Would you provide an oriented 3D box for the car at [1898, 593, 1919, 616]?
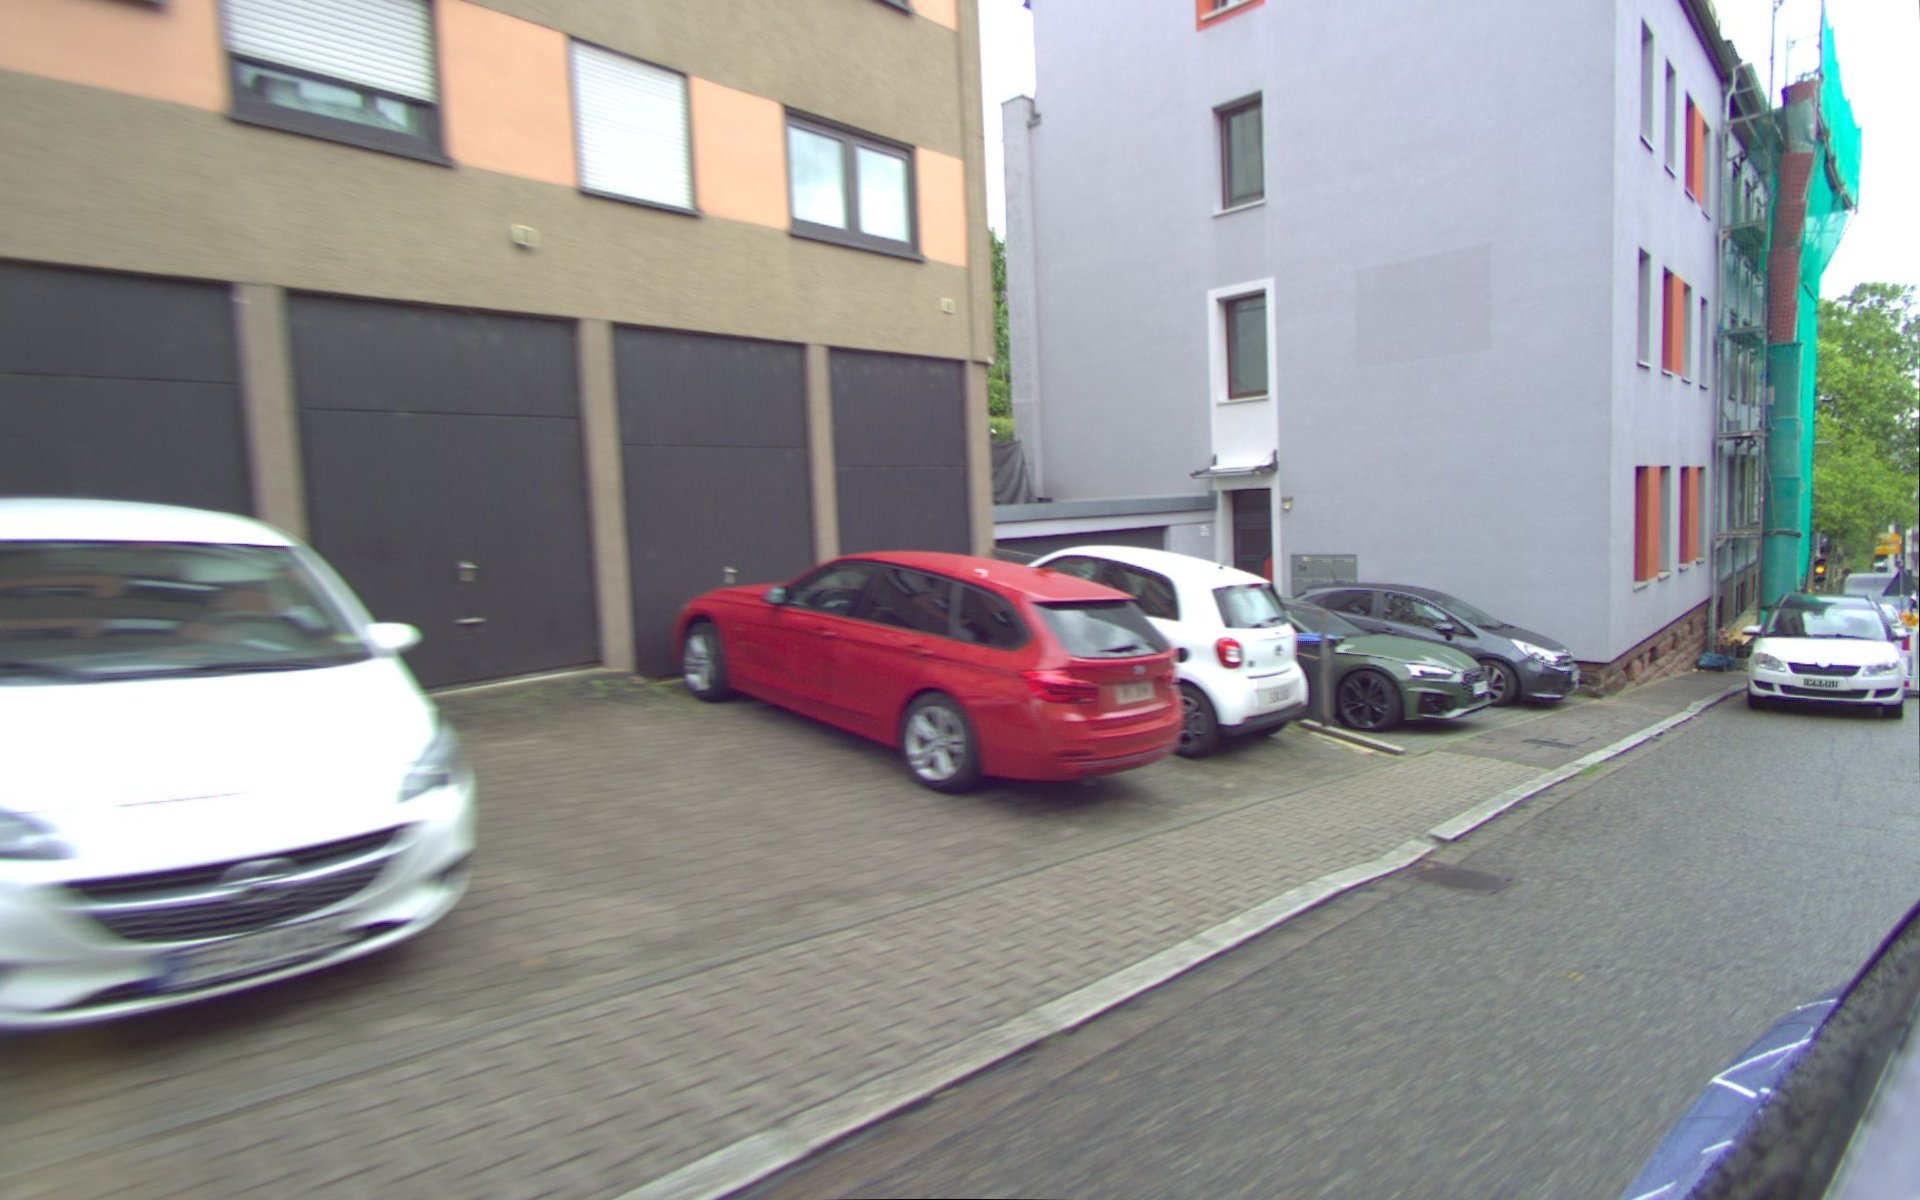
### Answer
[{"bbox_3d":[66.310,0.330,70.210,1.631,1.549,3.942,1,0,40],"label":"car"}]

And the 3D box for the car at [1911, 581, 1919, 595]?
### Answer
[{"bbox_3d":[114.216,-1.414,120.079,1.630,1.549,3.944,1,0,39],"label":"car"}]

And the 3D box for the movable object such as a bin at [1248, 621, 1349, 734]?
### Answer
[{"bbox_3d":[3.424,0.754,10.239,0.722,1.033,0.760,1,2,43],"label":"movable object such as a bin"}]

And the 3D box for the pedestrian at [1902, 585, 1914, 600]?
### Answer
[{"bbox_3d":[99.749,-0.808,106.507,0.868,1.561,1.071,0,-1,41],"label":"pedestrian"}]

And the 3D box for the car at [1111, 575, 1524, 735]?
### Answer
[{"bbox_3d":[4.135,0.511,12.157,4.268,1.484,1.864,3,2,43],"label":"car"}]

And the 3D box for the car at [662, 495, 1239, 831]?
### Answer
[{"bbox_3d":[-0.326,0.221,7.904,4.348,1.547,1.847,12,8,43],"label":"car"}]

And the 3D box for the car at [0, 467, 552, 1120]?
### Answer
[{"bbox_3d":[-3.538,0.324,4.315,3.962,1.547,1.668,10,6,41],"label":"car"}]

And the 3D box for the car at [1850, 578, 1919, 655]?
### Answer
[{"bbox_3d":[33.378,0.508,36.267,1.994,2.443,5.746,1,2,44],"label":"car"}]

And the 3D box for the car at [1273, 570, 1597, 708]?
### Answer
[{"bbox_3d":[6.625,0.447,14.349,3.803,1.569,1.634,4,2,43],"label":"car"}]

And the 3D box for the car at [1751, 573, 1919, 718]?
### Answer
[{"bbox_3d":[12.534,0.575,14.464,1.639,1.785,3.938,0,-1,43],"label":"car"}]

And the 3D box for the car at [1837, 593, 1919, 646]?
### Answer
[{"bbox_3d":[29.202,0.564,32.037,1.994,1.531,4.269,1,1,44],"label":"car"}]

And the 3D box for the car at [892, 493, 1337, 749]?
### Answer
[{"bbox_3d":[1.325,0.037,9.754,3.831,1.721,1.701,11,7,43],"label":"car"}]
